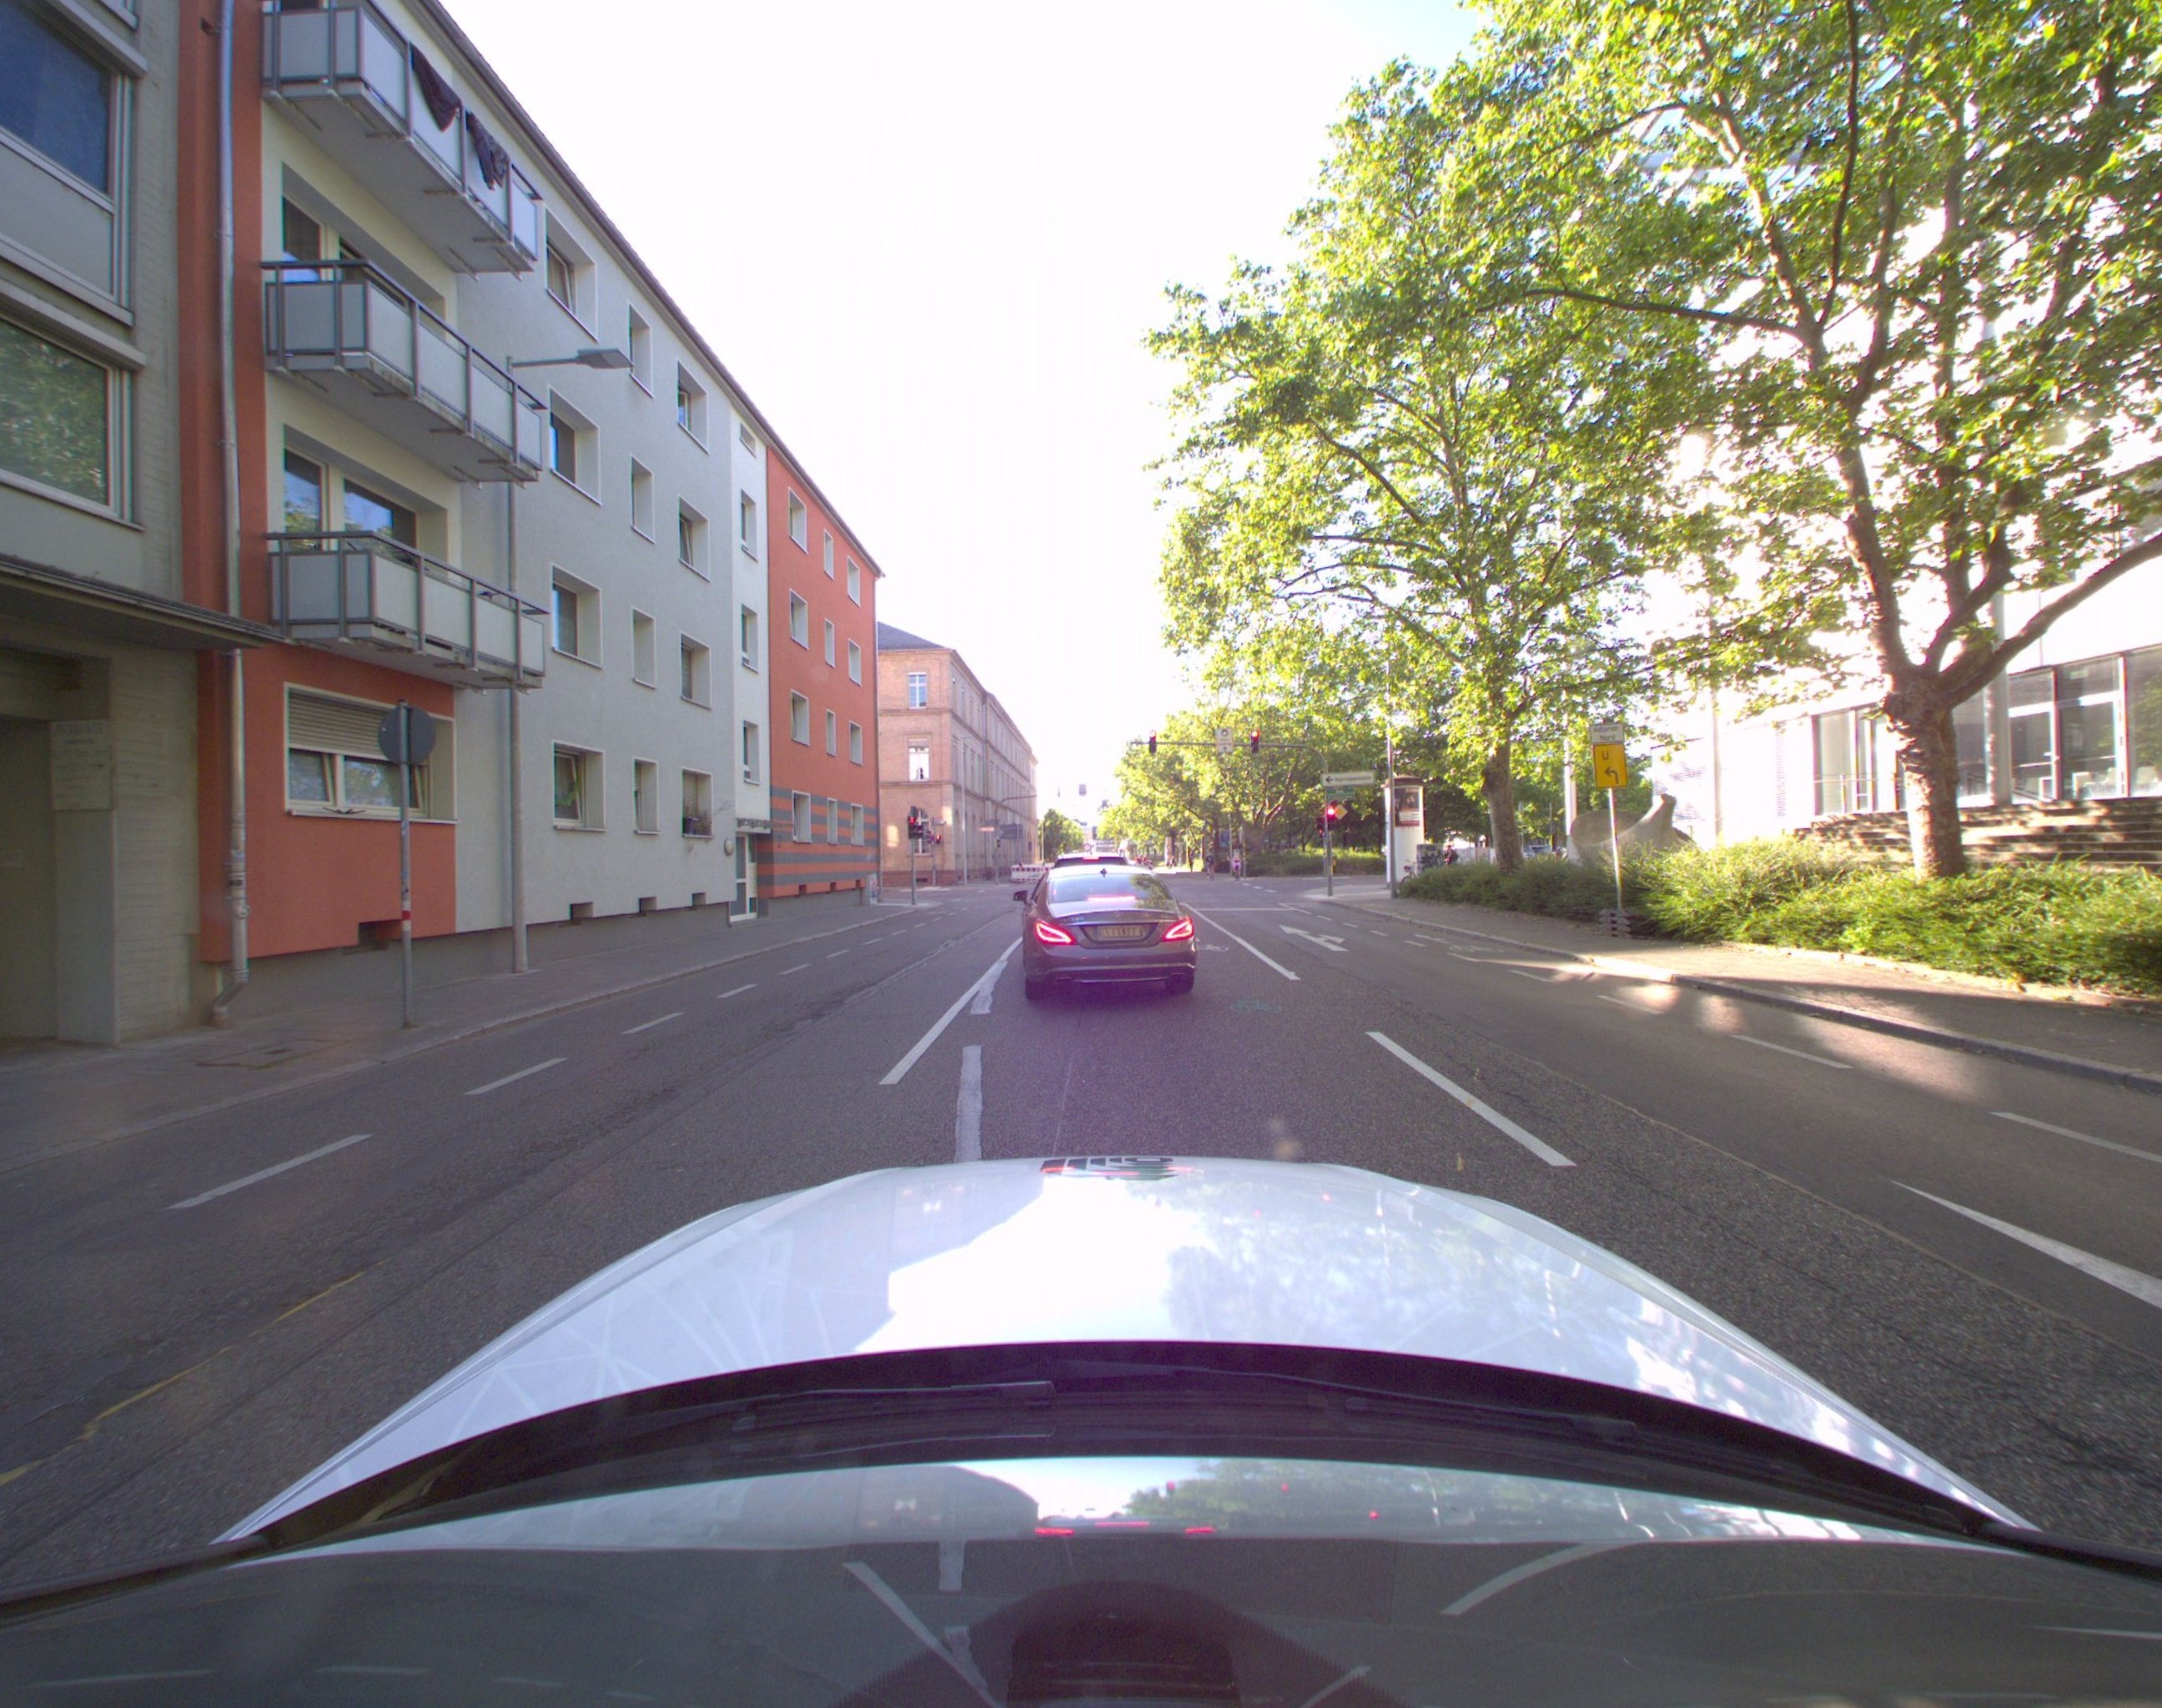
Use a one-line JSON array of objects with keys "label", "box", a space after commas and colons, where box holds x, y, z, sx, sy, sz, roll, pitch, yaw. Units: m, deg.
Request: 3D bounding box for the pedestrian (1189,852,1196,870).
[{"label": "pedestrian", "box": [10.568, 0.631, 77.423, 0.557, 1.678, 0.565, -1, 0, 1]}]

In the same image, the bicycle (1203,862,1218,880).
[{"label": "bicycle", "box": [7.364, 0.950, 46.384, 0.608, 1.026, 1.732, 0, 0, 2]}]

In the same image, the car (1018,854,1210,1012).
[{"label": "car", "box": [0.163, 0.775, 10.078, 1.818, 1.476, 4.345, -1, 0, -5]}]

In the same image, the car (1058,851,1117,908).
[{"label": "car", "box": [0.213, 0.748, 25.649, 1.676, 1.625, 3.841, -1, 0, 0]}]

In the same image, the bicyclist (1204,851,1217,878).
[{"label": "bicyclist", "box": [7.362, 0.585, 46.414, 0.608, 1.516, 0.890, 0, 0, 1]}]

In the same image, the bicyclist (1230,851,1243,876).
[{"label": "bicyclist", "box": [8.830, 0.523, 46.295, 0.598, 1.402, 0.931, 0, 0, 1]}]

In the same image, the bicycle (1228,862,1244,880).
[{"label": "bicycle", "box": [8.822, 0.977, 46.426, 0.598, 0.985, 1.882, 0, 0, 2]}]

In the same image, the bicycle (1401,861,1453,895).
[{"label": "bicycle", "box": [10.895, 0.748, 25.672, 1.411, 1.037, 0.538, -1, 0, -2]}]

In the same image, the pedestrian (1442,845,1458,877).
[{"label": "pedestrian", "box": [20.991, 0.389, 46.282, 0.617, 1.784, 0.631, -1, 0, 4]}]

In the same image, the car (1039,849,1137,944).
[{"label": "car", "box": [0.140, 0.748, 16.146, 1.676, 1.625, 3.841, -1, 0, 0]}]
